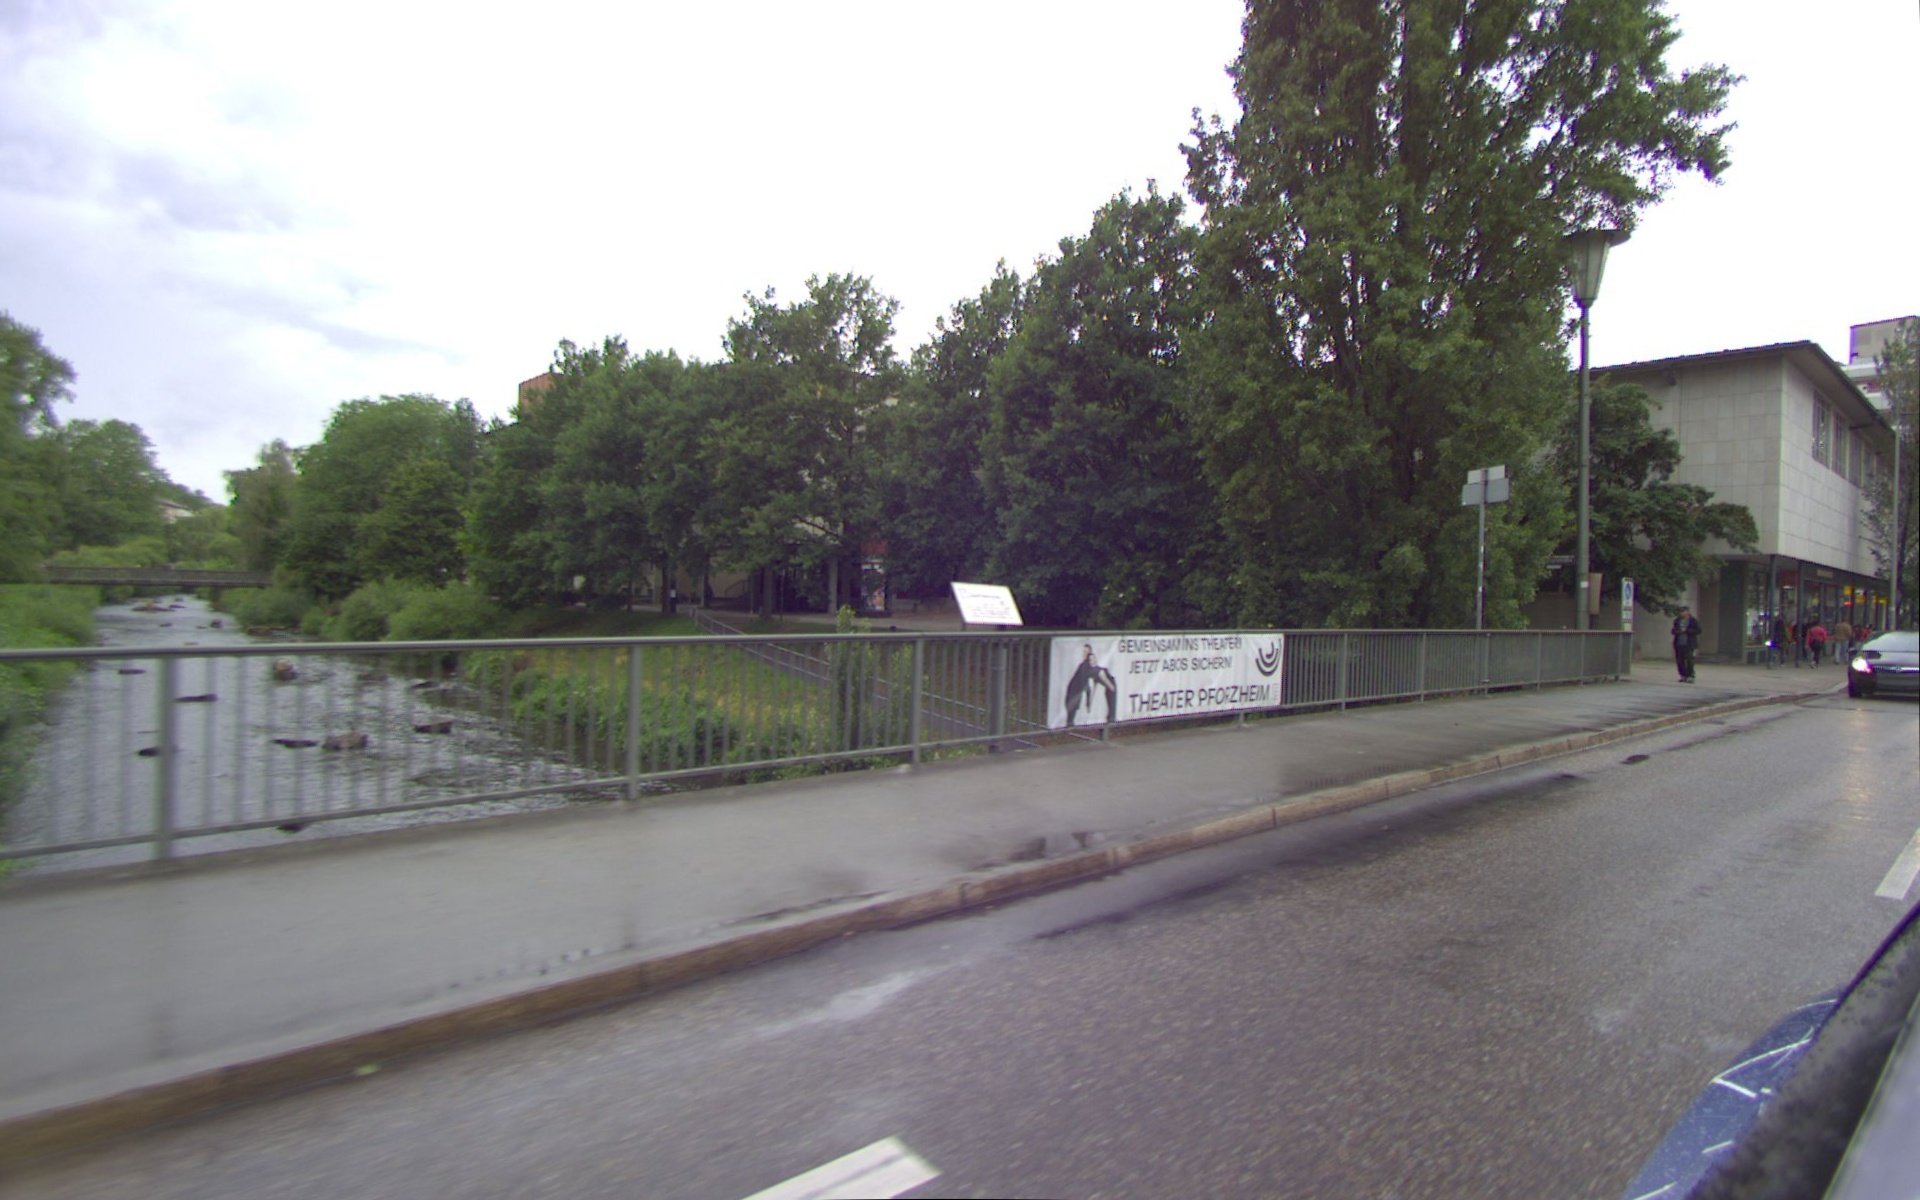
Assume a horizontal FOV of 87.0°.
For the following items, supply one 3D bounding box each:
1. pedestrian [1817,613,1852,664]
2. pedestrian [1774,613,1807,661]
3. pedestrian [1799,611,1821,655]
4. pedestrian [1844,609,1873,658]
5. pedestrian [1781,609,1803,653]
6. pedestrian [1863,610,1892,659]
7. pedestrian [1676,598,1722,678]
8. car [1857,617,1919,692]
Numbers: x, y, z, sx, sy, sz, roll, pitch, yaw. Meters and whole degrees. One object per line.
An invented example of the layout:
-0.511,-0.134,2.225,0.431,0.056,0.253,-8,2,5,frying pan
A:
29.286,1.266,33.893,0.756,1.640,0.718,2,1,-42,pedestrian
28.572,1.264,34.812,0.596,1.609,0.727,2,1,-41,pedestrian
34.266,1.342,40.795,0.524,1.740,0.538,2,0,-33,pedestrian
34.253,1.265,38.602,0.596,1.824,0.699,2,1,-42,pedestrian
33.980,1.270,41.336,0.524,1.740,0.538,2,0,-31,pedestrian
34.645,1.294,38.204,0.907,1.789,0.654,2,1,-42,pedestrian
15.982,0.814,21.882,0.553,1.685,0.641,3,0,-42,pedestrian
20.451,1.156,21.526,3.678,1.476,1.710,2,-1,-43,car
